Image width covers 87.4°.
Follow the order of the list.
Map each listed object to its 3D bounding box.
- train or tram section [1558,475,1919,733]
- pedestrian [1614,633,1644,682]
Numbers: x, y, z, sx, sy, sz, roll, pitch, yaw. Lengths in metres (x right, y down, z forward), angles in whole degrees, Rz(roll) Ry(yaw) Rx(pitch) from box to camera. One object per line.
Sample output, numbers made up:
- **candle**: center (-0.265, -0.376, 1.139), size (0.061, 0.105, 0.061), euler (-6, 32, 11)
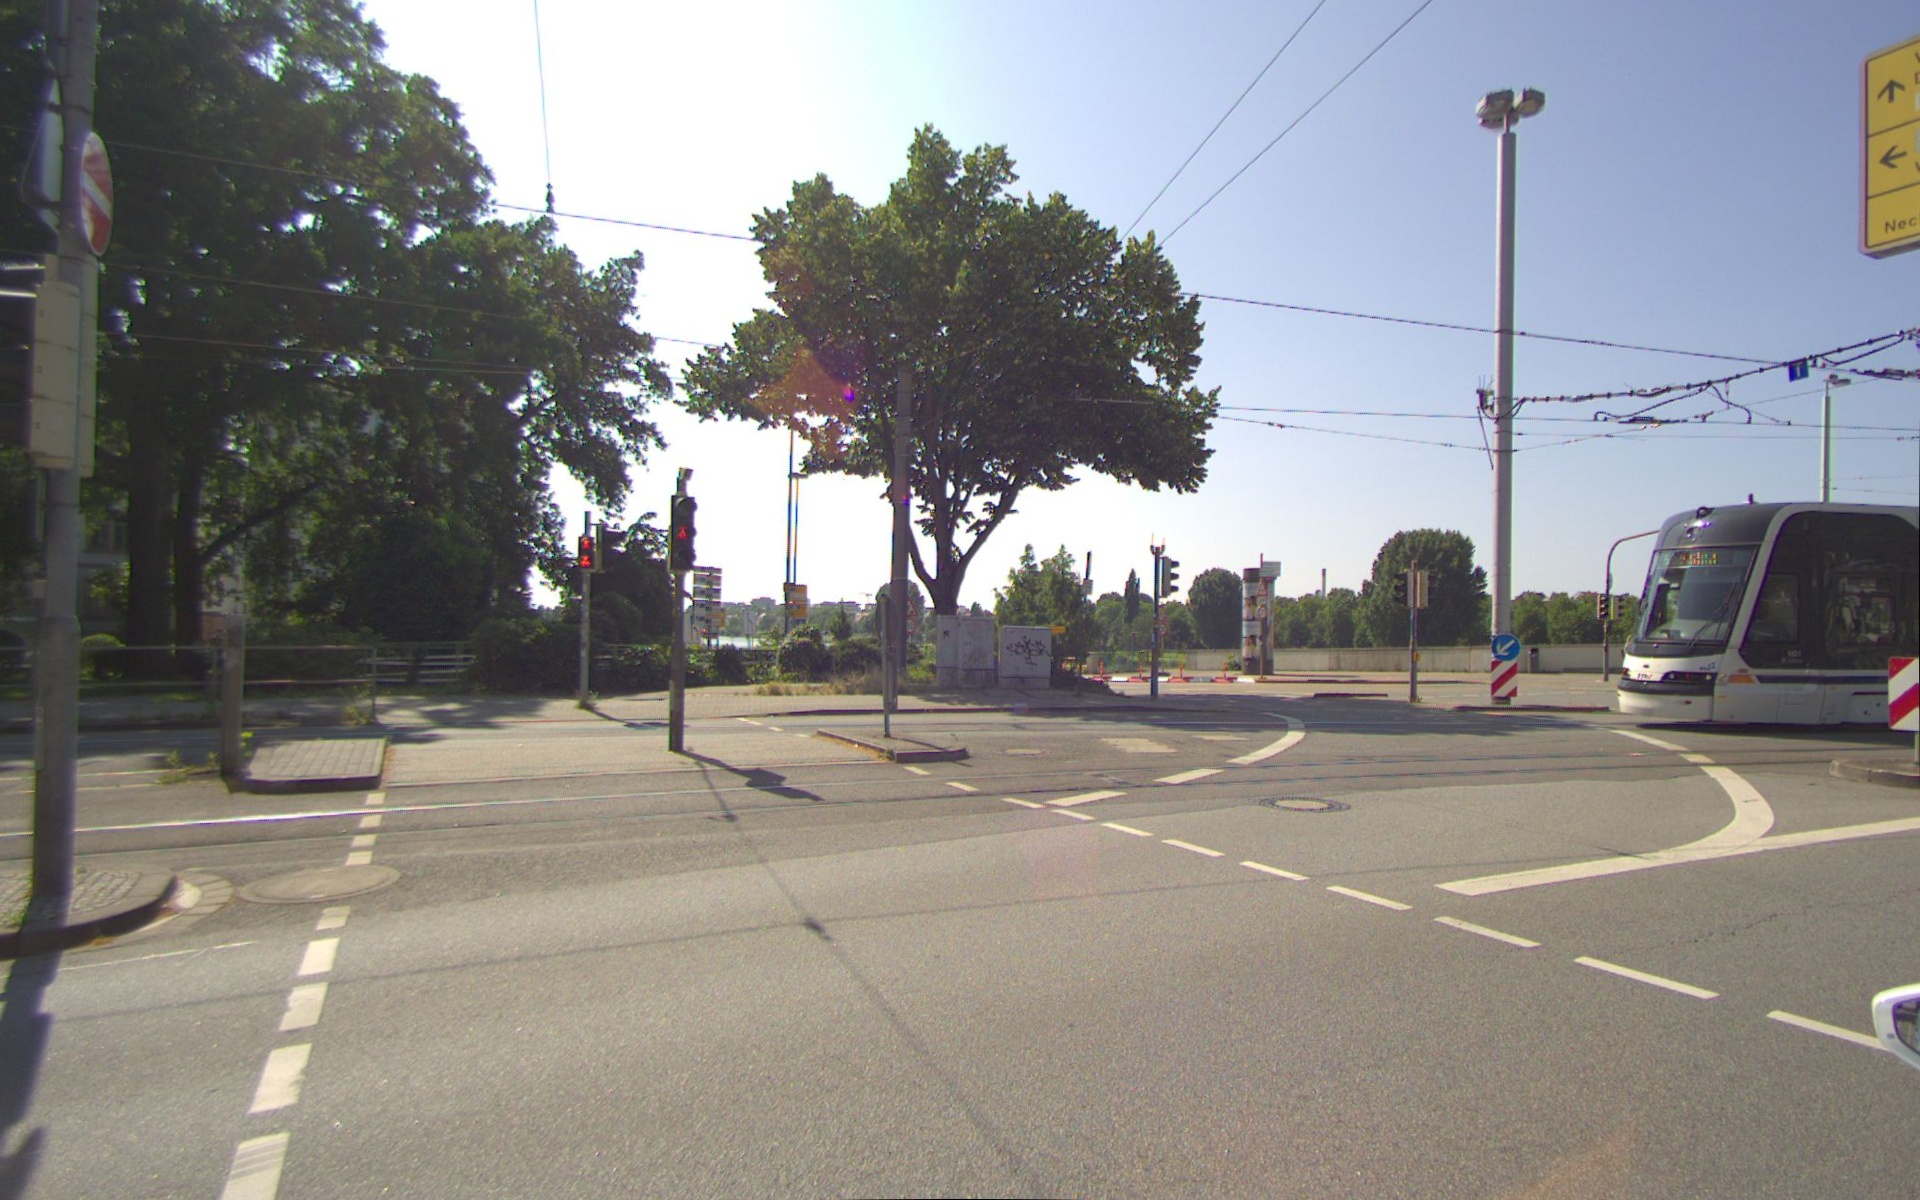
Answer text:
- **train or tram section**: center (15.023, 0.161, 17.237), size (9.012, 3.827, 2.539), euler (1, -1, -14)
- **pedestrian**: center (24.174, 2.059, 36.290), size (0.823, 1.719, 1.094), euler (-1, -2, 37)
